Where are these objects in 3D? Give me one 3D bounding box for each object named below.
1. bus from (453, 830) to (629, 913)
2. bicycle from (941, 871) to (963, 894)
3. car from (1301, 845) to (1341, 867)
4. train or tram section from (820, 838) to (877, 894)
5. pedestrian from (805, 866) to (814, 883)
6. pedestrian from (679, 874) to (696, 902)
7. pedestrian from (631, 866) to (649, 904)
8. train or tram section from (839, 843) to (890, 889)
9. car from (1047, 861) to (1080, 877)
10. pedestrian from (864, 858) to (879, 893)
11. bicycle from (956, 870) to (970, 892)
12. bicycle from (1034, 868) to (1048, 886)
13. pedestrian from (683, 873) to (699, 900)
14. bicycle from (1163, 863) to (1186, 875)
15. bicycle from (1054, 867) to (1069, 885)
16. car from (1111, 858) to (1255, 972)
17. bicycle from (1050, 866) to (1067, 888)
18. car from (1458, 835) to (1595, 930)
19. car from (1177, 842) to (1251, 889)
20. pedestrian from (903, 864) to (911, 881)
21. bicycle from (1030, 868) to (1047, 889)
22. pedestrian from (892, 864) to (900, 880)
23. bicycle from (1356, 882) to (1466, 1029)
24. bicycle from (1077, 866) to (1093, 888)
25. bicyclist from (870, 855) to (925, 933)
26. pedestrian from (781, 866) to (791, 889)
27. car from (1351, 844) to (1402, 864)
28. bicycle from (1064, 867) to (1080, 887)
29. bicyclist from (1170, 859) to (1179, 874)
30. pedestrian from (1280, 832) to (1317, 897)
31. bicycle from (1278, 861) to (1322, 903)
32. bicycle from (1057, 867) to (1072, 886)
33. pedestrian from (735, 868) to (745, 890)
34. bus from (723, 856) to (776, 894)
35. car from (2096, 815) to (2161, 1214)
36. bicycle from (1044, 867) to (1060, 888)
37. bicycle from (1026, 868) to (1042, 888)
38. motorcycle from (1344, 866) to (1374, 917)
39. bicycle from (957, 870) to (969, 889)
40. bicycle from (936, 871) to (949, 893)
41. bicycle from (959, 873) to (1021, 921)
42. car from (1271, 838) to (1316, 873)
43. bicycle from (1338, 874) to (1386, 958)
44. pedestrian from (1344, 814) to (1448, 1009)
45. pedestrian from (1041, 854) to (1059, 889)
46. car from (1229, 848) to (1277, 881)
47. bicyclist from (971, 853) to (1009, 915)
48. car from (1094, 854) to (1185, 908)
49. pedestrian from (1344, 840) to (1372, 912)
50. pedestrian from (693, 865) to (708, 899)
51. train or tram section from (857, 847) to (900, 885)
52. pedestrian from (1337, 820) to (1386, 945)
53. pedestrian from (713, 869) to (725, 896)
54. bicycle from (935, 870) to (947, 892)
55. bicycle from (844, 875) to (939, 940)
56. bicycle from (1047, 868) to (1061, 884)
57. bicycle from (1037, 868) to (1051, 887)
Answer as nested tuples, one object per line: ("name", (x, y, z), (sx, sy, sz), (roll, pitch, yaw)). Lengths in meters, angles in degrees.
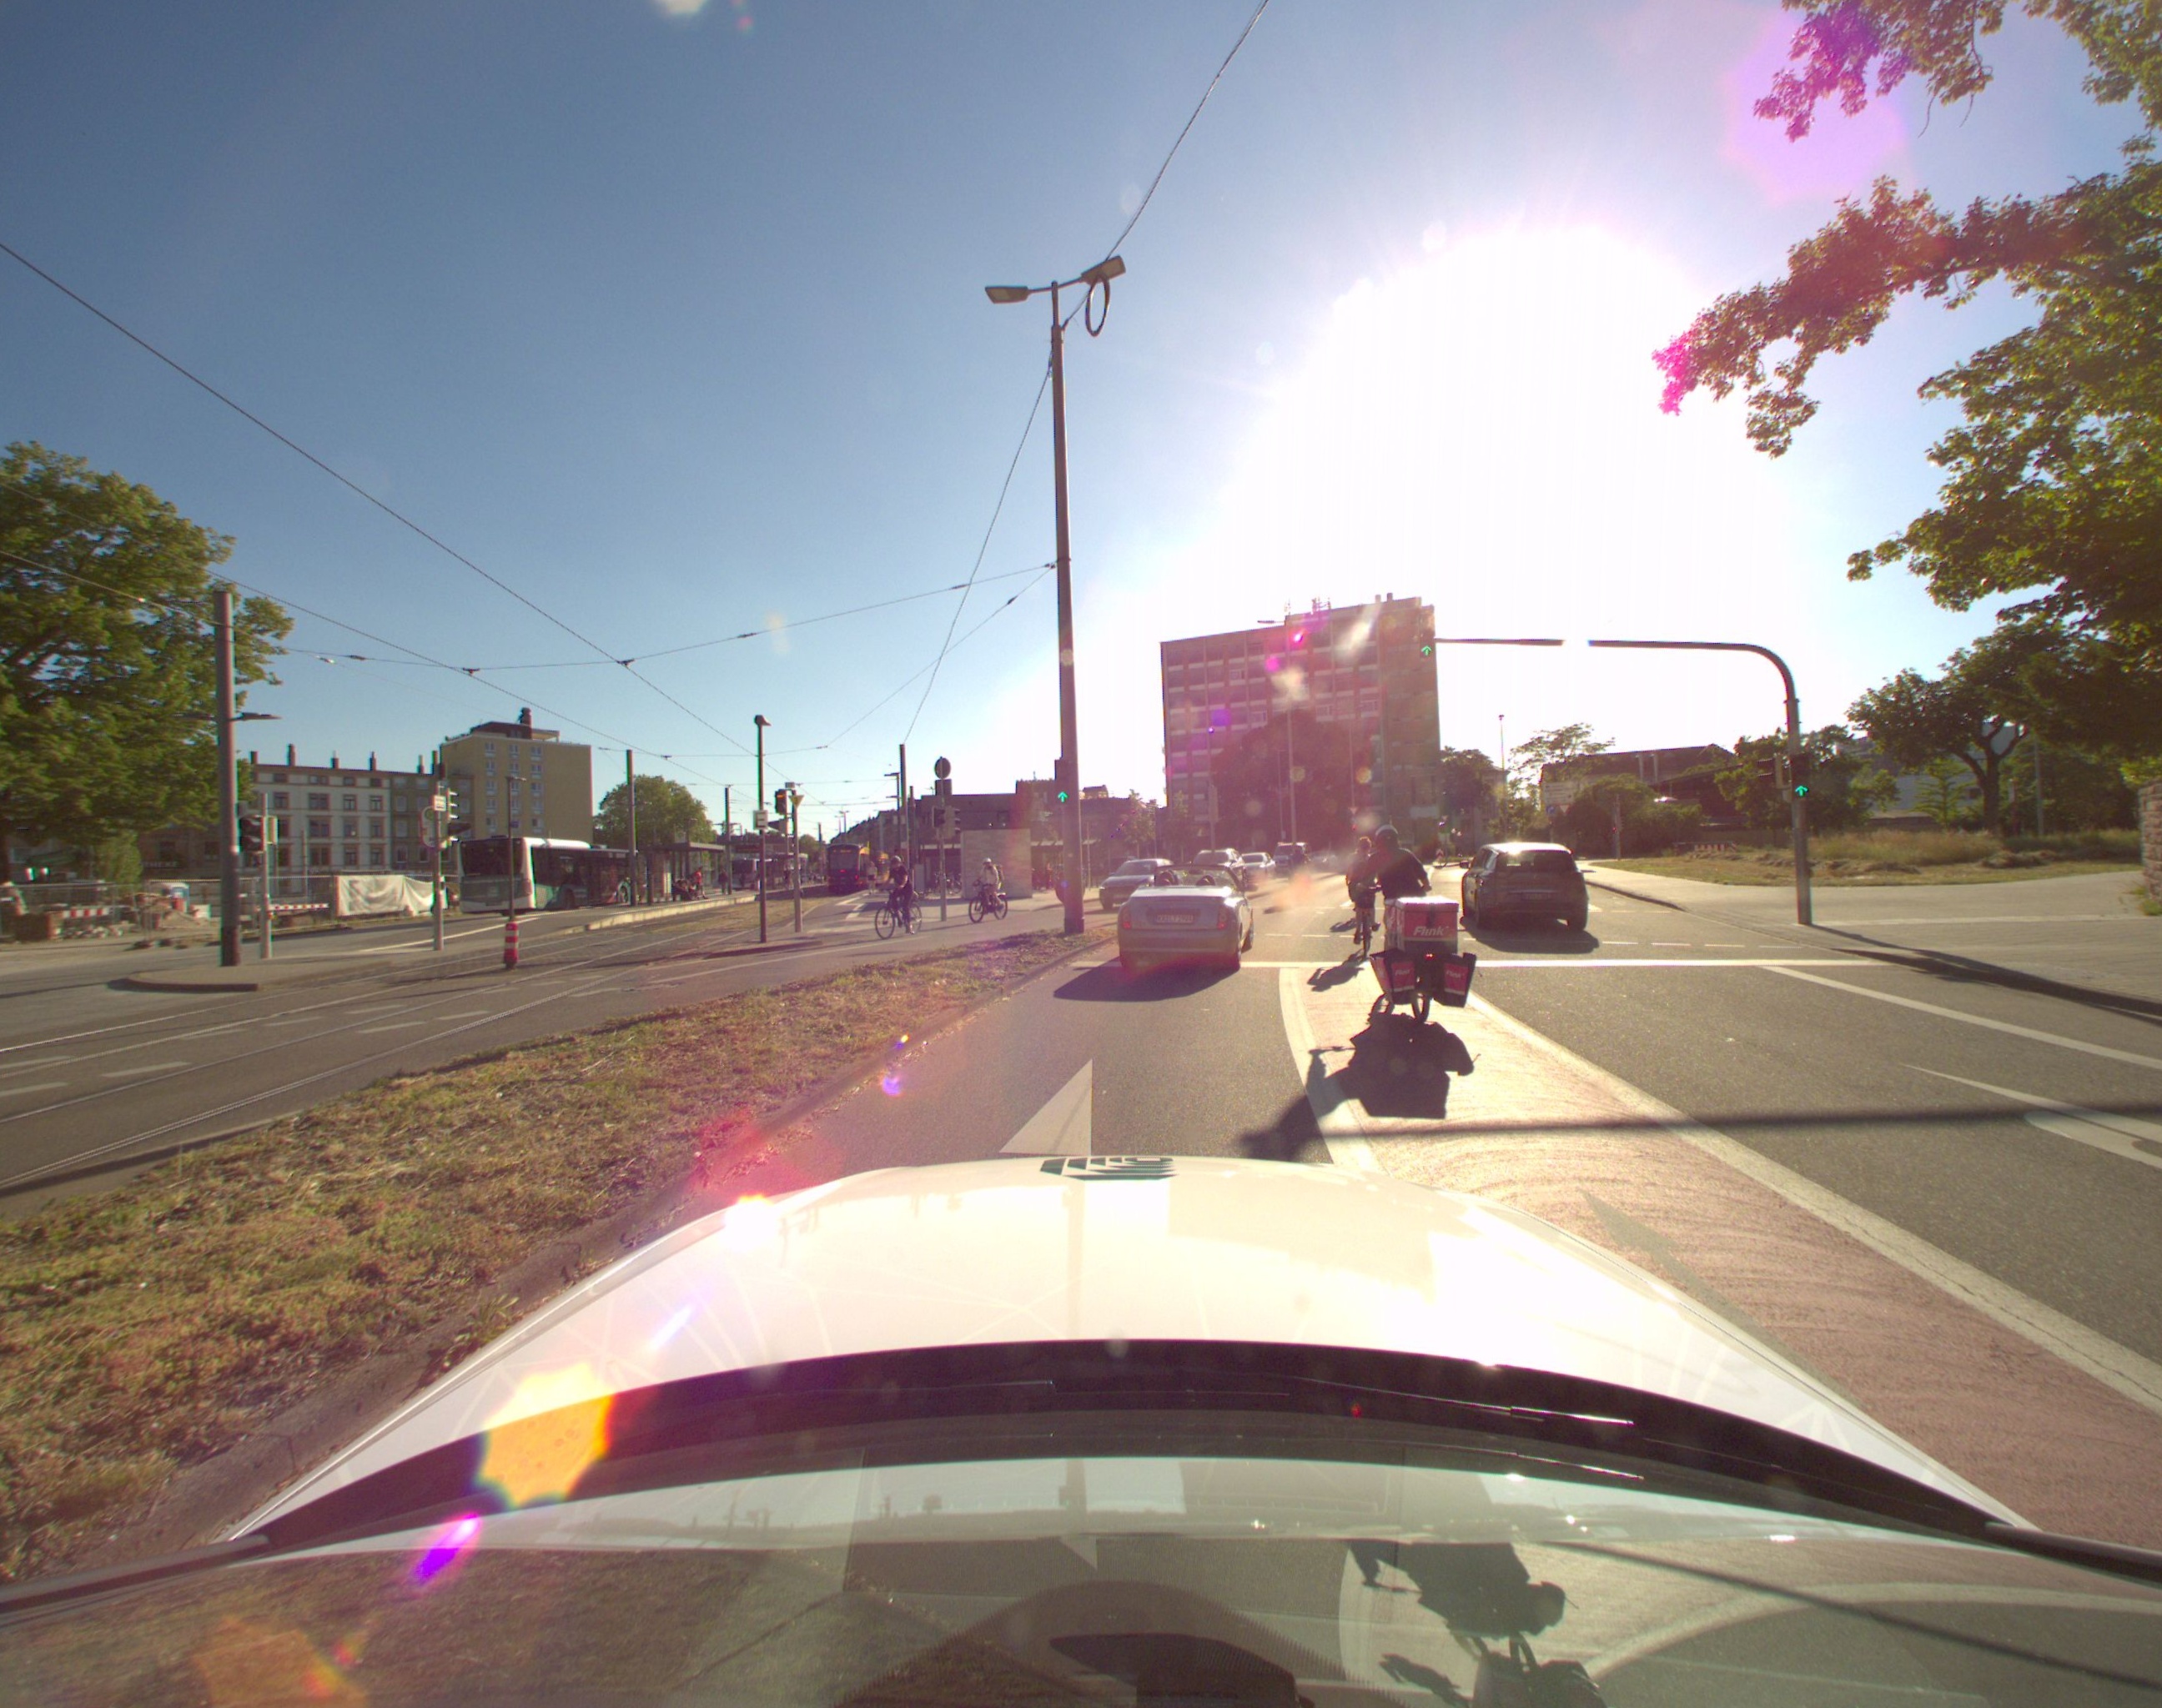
("bus", (-23.254, 0.721, 35.903), (2.653, 3.136, 9.613), (0, -1, -9))
("bicycle", (-6.443, 1.395, 40.768), (0.603, 1.115, 1.900), (0, -1, 7))
("car", (19.033, 0.165, 64.468), (1.781, 1.530, 4.026), (-4, -1, 36))
("train or tram section", (-16.624, 0.855, 59.032), (2.882, 3.597, 12.152), (0, -1, -11))
("pedestrian", (-29.451, 2.239, 88.474), (0.733, 1.749, 0.638), (-2, -1, -7))
("pedestrian", (-19.582, 1.696, 40.529), (0.617, 1.340, 0.438), (-2, -1, -16))
("pedestrian", (-20.666, 1.436, 38.178), (0.536, 1.749, 0.559), (-2, -1, -5))
("train or tram section", (-18.682, 1.036, 71.027), (3.011, 3.597, 12.160), (0, -1, -9))
("car", (-1.905, 1.604, 86.776), (1.653, 1.560, 3.558), (-2, -1, -38))
("pedestrian", (-10.639, 1.087, 41.403), (0.639, 1.749, 0.568), (-2, -1, -18))
("bicycle", (-6.194, 1.395, 42.703), (0.607, 1.115, 1.889), (0, -1, -11))
("bicycle", (-2.541, 1.444, 51.328), (0.607, 1.115, 1.889), (0, -1, -11))
("pedestrian", (-19.726, 1.653, 41.213), (0.571, 1.346, 0.636), (-2, -1, -16))
("bicycle", (9.815, 1.566, 85.583), (2.383, 1.191, 0.613), (-1, -1, 31))
("bicycle", (-1.229, 1.385, 51.532), (0.607, 1.115, 1.889), (0, -1, -11))
("car", (1.728, 0.801, 12.477), (1.648, 1.441, 4.170), (-1, -1, 15))
("bicycle", (-1.210, 1.227, 43.555), (0.607, 1.115, 1.889), (0, -1, -11))
("car", (8.974, 0.533, 16.771), (1.816, 1.689, 4.390), (-1, -1, 20))
("car", (5.503, 0.419, 33.349), (1.745, 1.706, 4.556), (-4, -1, 24))
("pedestrian", (-18.621, 1.951, 87.143), (0.639, 1.749, 0.731), (-2, -1, -18))
("bicycle", (-2.282, 1.292, 43.416), (0.607, 1.115, 1.889), (0, -1, -11))
("pedestrian", (-20.051, 1.947, 88.268), (0.604, 1.749, 0.829), (-2, -1, -7))
("bicycle", (3.164, 0.890, 8.014), (0.550, 1.171, 2.380), (-1, -1, 11))
("bicycle", (0.202, 1.222, 43.854), (0.606, 1.115, 1.891), (0, -1, -8))
("bicyclist", (-4.118, 0.886, 18.316), (0.702, 1.657, 0.906), (-5, -2, 22))
("pedestrian", (-23.129, 1.835, 63.799), (0.641, 1.749, 0.567), (-2, -1, -26))
("car", (25.691, 0.022, 70.817), (4.006, 1.530, 1.790), (-3, -1, -25))
("bicycle", (-0.522, 1.280, 45.872), (0.607, 1.115, 1.889), (0, -1, -11))
("bicyclist", (9.835, 1.281, 85.582), (0.744, 1.598, 0.593), (-1, -1, 31))
("pedestrian", (6.454, 0.317, 24.134), (0.825, 1.869, 0.926), (-1, -1, 31))
("bicycle", (6.522, 0.794, 24.189), (0.602, 1.191, 2.429), (-1, -1, 31))
("bicycle", (-1.026, 1.380, 49.560), (0.607, 1.115, 1.889), (0, -1, -11))
("pedestrian", (-27.053, 1.979, 64.586), (0.572, 1.749, 0.636), (-2, -1, -18))
("bus", (-31.630, 1.940, 78.249), (2.724, 3.274, 13.403), (0, -1, -13))
("car", (4.989, 0.622, 1.230), (1.778, 1.594, 4.336), (0, -1, 6))
("bicycle", (-1.614, 1.314, 45.487), (0.607, 1.115, 1.889), (0, -1, -11))
("bicycle", (-2.644, 1.332, 45.494), (0.607, 1.115, 1.889), (0, -1, -11))
("motorcycle", (6.449, 0.831, 18.949), (0.608, 1.097, 2.371), (-1, -1, 18))
("bicycle", (-7.043, 1.518, 48.642), (0.607, 1.115, 1.889), (0, -1, -11))
("bicycle", (-7.223, 1.431, 42.375), (0.607, 1.115, 1.889), (0, -1, -11))
("bicycle", (-2.465, 1.156, 22.329), (0.668, 1.180, 2.195), (-3, -1, 23))
("car", (12.958, 0.071, 49.374), (1.892, 1.945, 4.732), (-4, -1, 22))
("bicycle", (4.289, 0.901, 12.518), (0.559, 1.151, 1.957), (-1, -1, 15))
("pedestrian", (3.191, 0.559, 8.343), (0.801, 1.869, 0.959), (-1, -1, 9))
("pedestrian", (-1.693, 0.937, 44.513), (0.901, 1.869, 0.684), (0, -1, -12))
("car", (8.989, 0.507, 42.319), (1.679, 1.560, 4.001), (-3, -1, 22))
("bicyclist", (-2.490, 0.812, 22.299), (0.702, 1.657, 0.747), (-3, -1, 22))
("car", (1.926, 0.804, 25.732), (1.721, 1.574, 3.945), (-1, -1, 22))
("pedestrian", (6.416, 0.500, 18.859), (0.583, 1.598, 1.030), (-1, -1, 18))
("pedestrian", (-20.144, 1.463, 43.081), (0.571, 1.749, 0.636), (-2, -1, -16))
("train or tram section", (-20.468, 1.202, 82.958), (3.038, 3.597, 12.016), (0, -1, -8))
("pedestrian", (4.335, 0.428, 12.635), (0.654, 1.869, 0.876), (-1, -1, 15))
("pedestrian", (-24.168, 1.884, 54.397), (0.641, 1.749, 0.567), (-2, -1, -26))
("bicycle", (-7.611, 1.459, 44.301), (0.607, 1.115, 1.890), (0, -1, -10))
("bicycle", (-4.163, 1.146, 18.156), (0.668, 1.250, 2.470), (-5, -2, 23))
("bicycle", (-1.830, 1.475, 55.039), (0.607, 1.115, 1.889), (0, -1, -11))
("bicycle", (-2.257, 1.403, 49.360), (0.607, 1.115, 1.889), (0, -1, -11))
